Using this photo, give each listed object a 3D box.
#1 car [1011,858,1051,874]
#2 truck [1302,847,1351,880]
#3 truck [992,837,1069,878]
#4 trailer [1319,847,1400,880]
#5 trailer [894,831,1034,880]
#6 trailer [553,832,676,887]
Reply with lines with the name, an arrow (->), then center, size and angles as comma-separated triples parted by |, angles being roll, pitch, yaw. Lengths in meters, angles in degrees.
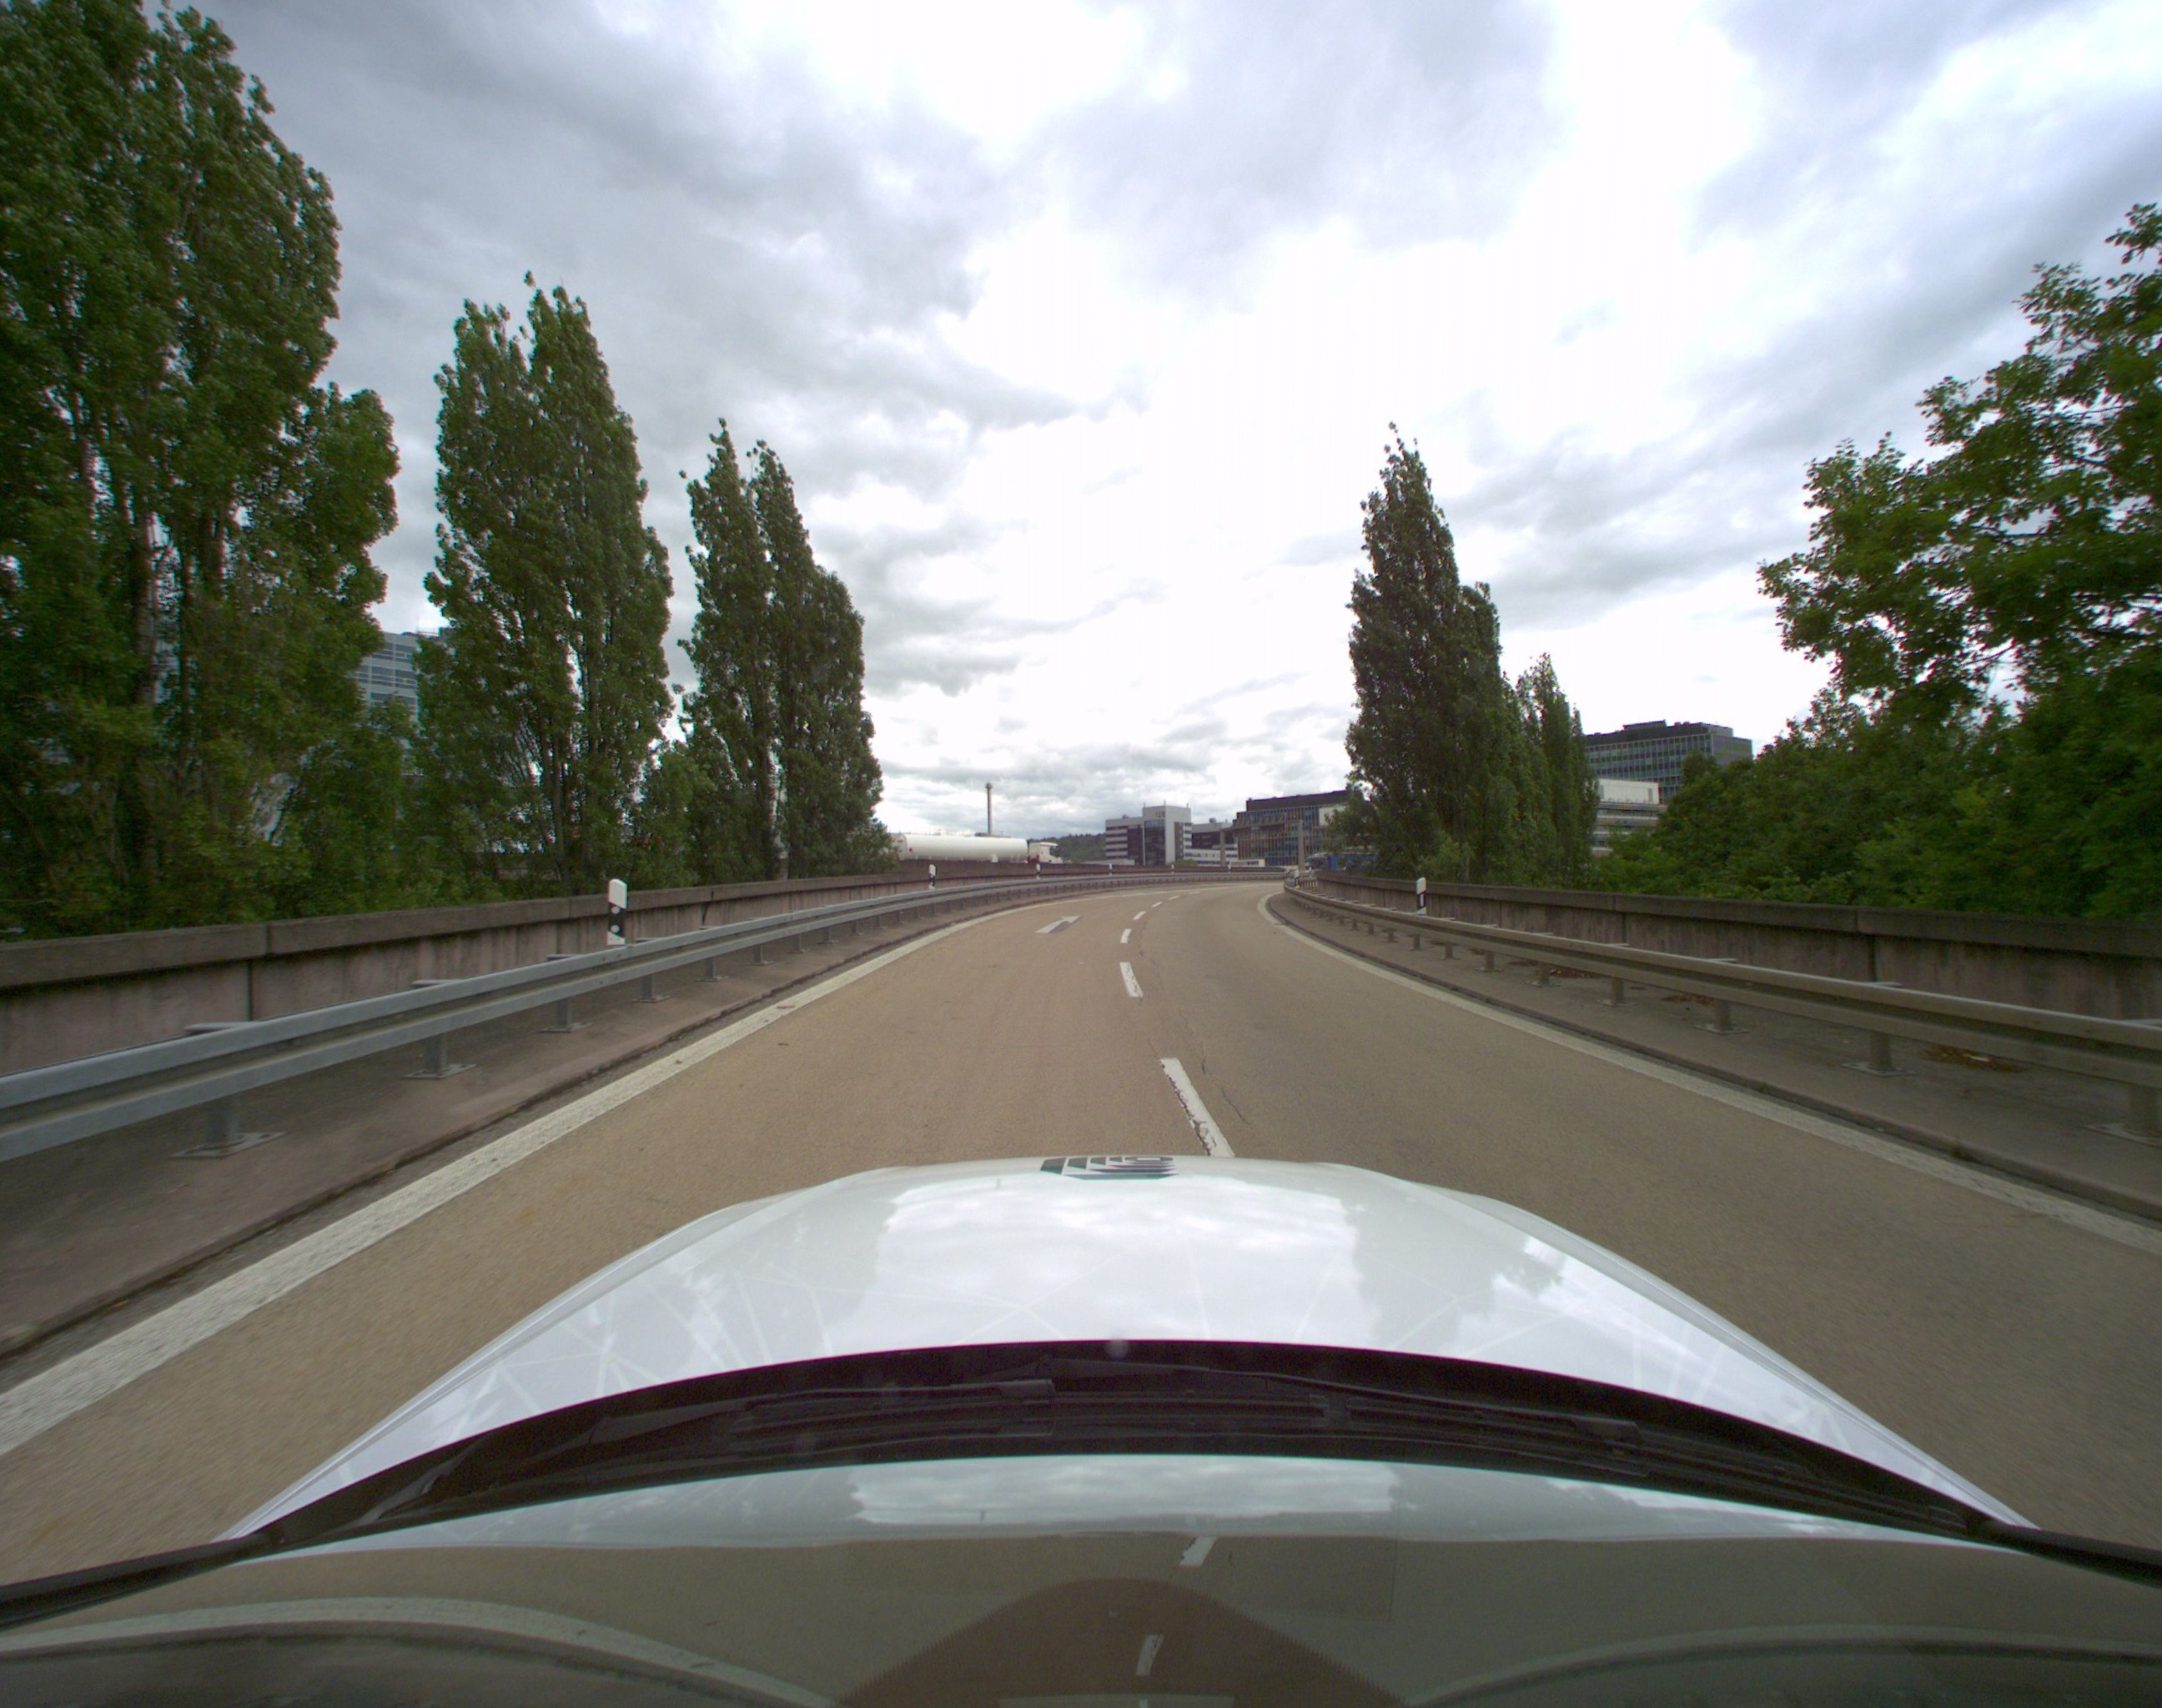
car -> -5.084, 1.247, 82.904 | 3.660, 1.518, 1.673 | 1, 2, -30
truck -> 33.003, 1.282, 109.547 | 5.711, 4.347, 3.141 | 1, -3, -30
truck -> -4.338, 0.351, 70.224 | 5.985, 3.431, 2.750 | 1, -3, -32
trailer -> 38.761, 1.327, 112.951 | 12.556, 4.347, 3.140 | 0, -3, -31
trailer -> -9.475, 0.163, 67.022 | 11.192, 3.738, 2.772 | 1, -3, -32
trailer -> -32.872, 0.453, 57.560 | 7.337, 3.691, 2.672 | 1, -3, -32
